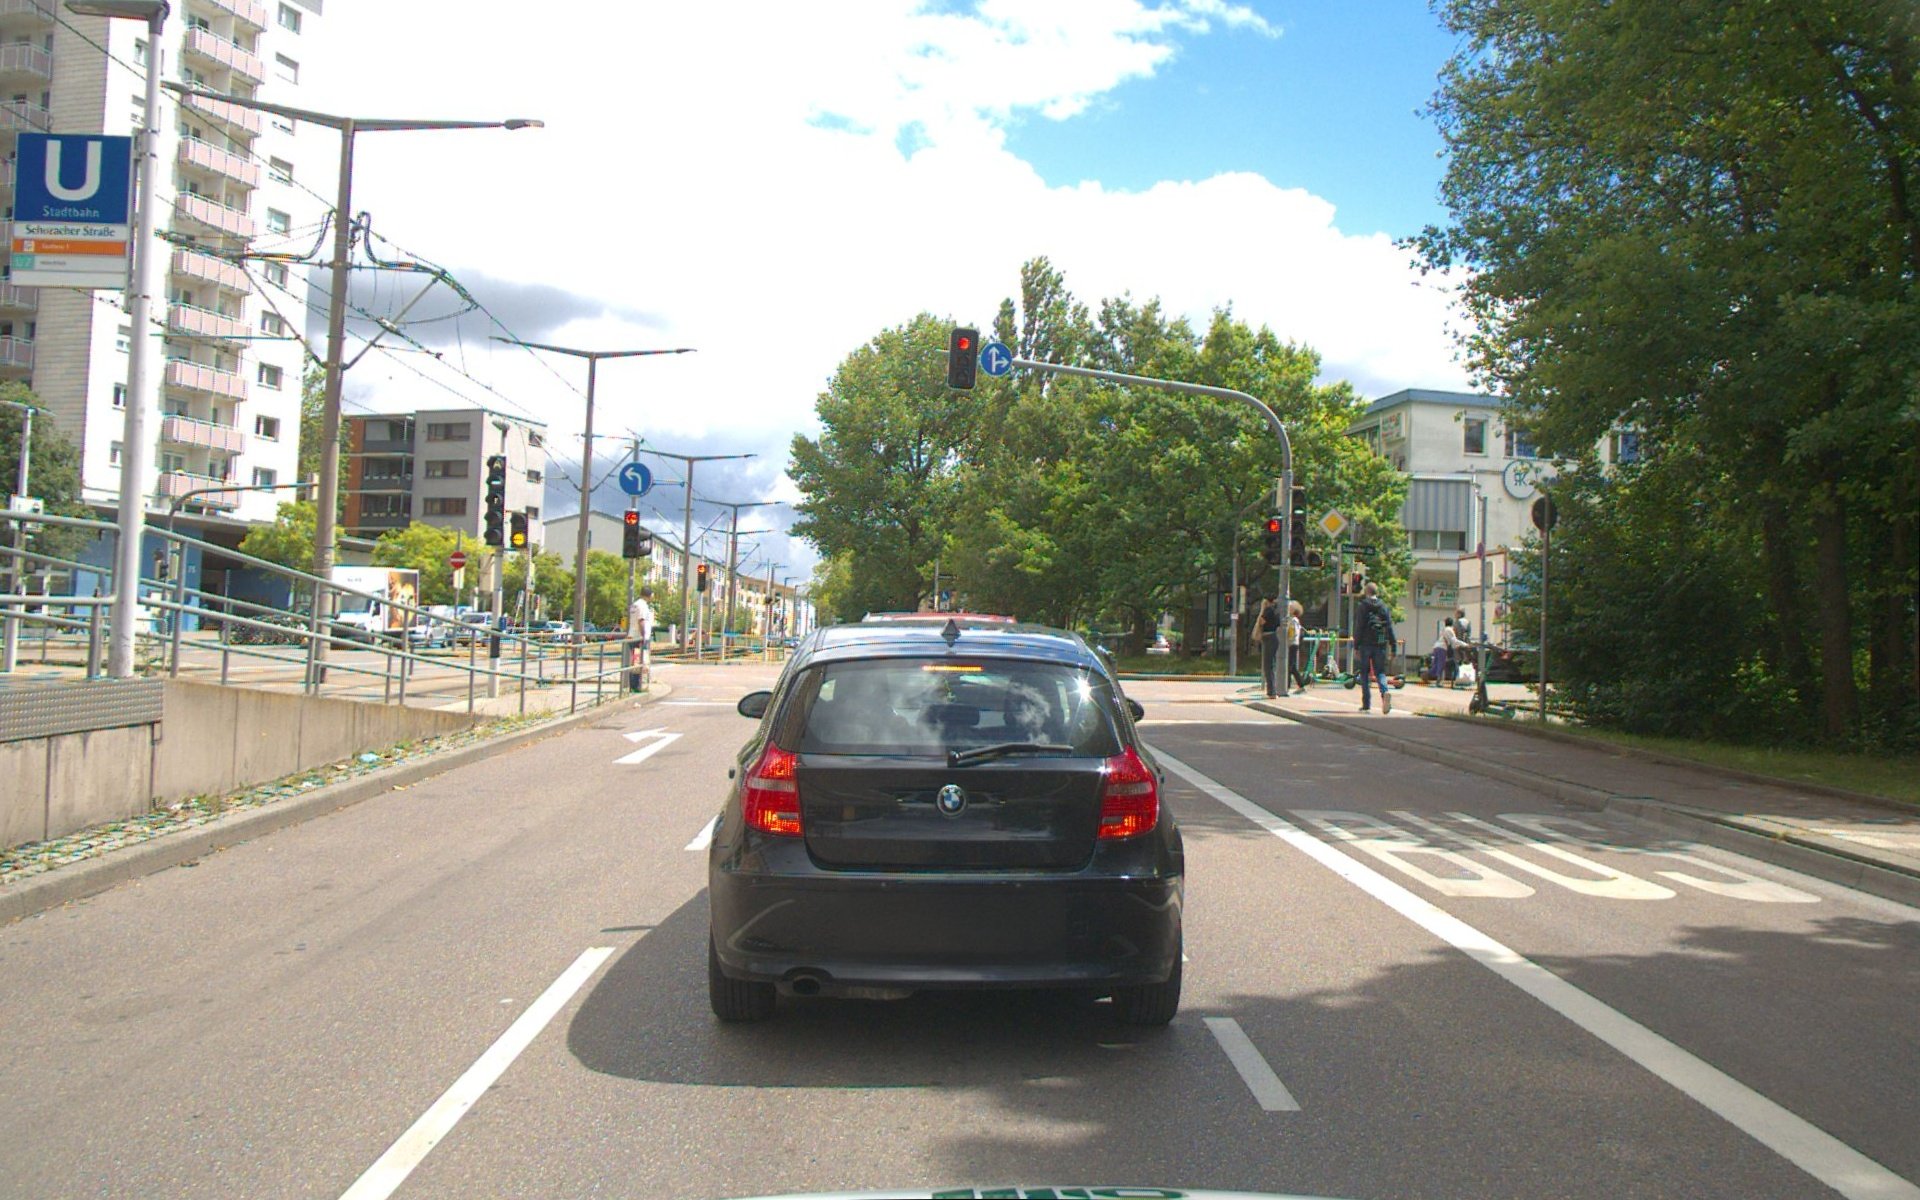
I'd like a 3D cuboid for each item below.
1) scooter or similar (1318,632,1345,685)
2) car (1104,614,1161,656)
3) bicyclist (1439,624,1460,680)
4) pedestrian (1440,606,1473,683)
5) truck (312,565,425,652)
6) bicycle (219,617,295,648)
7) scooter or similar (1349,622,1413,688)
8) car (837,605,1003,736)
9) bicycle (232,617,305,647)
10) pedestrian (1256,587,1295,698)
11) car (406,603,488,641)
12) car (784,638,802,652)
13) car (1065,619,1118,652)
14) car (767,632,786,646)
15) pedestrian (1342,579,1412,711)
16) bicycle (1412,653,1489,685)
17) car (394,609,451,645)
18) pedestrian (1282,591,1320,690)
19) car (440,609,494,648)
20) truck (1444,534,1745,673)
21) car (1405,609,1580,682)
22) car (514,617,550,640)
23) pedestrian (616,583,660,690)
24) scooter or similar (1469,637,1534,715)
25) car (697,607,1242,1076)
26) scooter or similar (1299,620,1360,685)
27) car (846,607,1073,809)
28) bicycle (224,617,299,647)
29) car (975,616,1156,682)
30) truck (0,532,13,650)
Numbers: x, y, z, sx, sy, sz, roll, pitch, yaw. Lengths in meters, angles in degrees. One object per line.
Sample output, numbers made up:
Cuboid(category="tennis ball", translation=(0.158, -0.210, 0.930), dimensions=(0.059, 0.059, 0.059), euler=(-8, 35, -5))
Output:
Cuboid(category="scooter or similar", translation=(7.866, 1.225, 34.996), dimensions=(0.536, 1.082, 1.263), euler=(1, 0, 13))
Cuboid(category="car", translation=(8.305, 1.665, 79.802), dimensions=(1.694, 1.904, 3.991), euler=(2, -1, -9))
Cuboid(category="bicyclist", translation=(10.538, 1.112, 35.627), dimensions=(0.390, 1.177, 0.503), euler=(1, -1, 20))
Cuboid(category="pedestrian", translation=(11.328, 1.007, 37.720), dimensions=(0.644, 1.743, 0.461), euler=(1, -1, 25))
Cuboid(category="truck", translation=(-23.040, 0.351, 64.793), dimensions=(2.237, 3.172, 7.311), euler=(2, -1, -5))
Cuboid(category="bicycle", translation=(-26.276, 1.228, 61.832), dimensions=(2.528, 1.026, 0.748), euler=(3, -3, -29))
Cuboid(category="scooter or similar", translation=(8.641, 1.114, 33.965), dimensions=(1.127, 1.294, 0.555), euler=(2, -1, 1))
Cuboid(category="car", translation=(-0.483, 0.816, 21.077), dimensions=(1.862, 1.447, 4.538), euler=(1, 0, -1))
Cuboid(category="bicycle", translation=(-26.714, 1.238, 63.920), dimensions=(2.528, 1.026, 0.748), euler=(3, -3, -29))
Cuboid(category="pedestrian", translation=(5.499, 0.728, 28.866), dimensions=(0.622, 1.909, 0.518), euler=(1, -1, 8))
Cuboid(category="car", translation=(-27.676, 1.184, 89.220), dimensions=(3.893, 2.009, 1.630), euler=(2, -1, -43))
Cuboid(category="car", translation=(-19.463, 5.274, 192.960), dimensions=(1.622, 1.561, 3.859), euler=(2, -1, -12))
Cuboid(category="car", translation=(7.170, 1.934, 90.758), dimensions=(1.830, 1.691, 3.988), euler=(2, -1, -12))
Cuboid(category="car", translation=(-19.949, 4.261, 179.628), dimensions=(1.758, 1.434, 3.997), euler=(1, 0, -3))
Cuboid(category="pedestrian", translation=(6.178, 0.661, 24.539), dimensions=(0.779, 1.909, 1.013), euler=(1, -1, 1))
Cuboid(category="bicycle", translation=(10.551, 1.475, 35.603), dimensions=(1.552, 0.620, 0.534), euler=(1, 0, 19))
Cuboid(category="car", translation=(-23.491, 1.173, 72.422), dimensions=(1.379, 1.486, 3.772), euler=(2, -1, -3))
Cuboid(category="pedestrian", translation=(6.308, 0.750, 30.623), dimensions=(0.622, 1.797, 0.518), euler=(1, -1, 8))
Cuboid(category="car", translation=(-24.130, 1.380, 81.033), dimensions=(1.559, 1.787, 3.773), euler=(2, -1, -2))
Cuboid(category="truck", translation=(16.517, 0.118, 43.158), dimensions=(7.144, 3.407, 2.599), euler=(1, -1, -14))
Cuboid(category="car", translation=(15.464, 1.303, 48.106), dimensions=(4.451, 2.049, 1.996), euler=(1, 0, -9))
Cuboid(category="car", translation=(-28.815, 1.930, 111.444), dimensions=(1.559, 1.500, 3.773), euler=(2, -1, -2))
Cuboid(category="pedestrian", translation=(-5.351, 0.604, 27.535), dimensions=(0.675, 1.764, 0.686), euler=(1, -1, -10))
Cuboid(category="scooter or similar", translation=(9.367, 1.316, 28.636), dimensions=(0.872, 1.251, 0.454), euler=(6, -1, -1))
Cuboid(category="car", translation=(0.009, 0.760, 6.835), dimensions=(1.666, 1.424, 3.419), euler=(1, 0, -1))
Cuboid(category="scooter or similar", translation=(7.367, 1.045, 32.983), dimensions=(1.087, 1.257, 0.539), euler=(1, -1, 1))
Cuboid(category="car", translation=(-0.025, 0.790, 13.615), dimensions=(1.605, 1.424, 3.419), euler=(1, 0, -1))
Cuboid(category="bicycle", translation=(-26.542, 1.236, 62.822), dimensions=(2.528, 1.026, 0.748), euler=(3, -3, -29))
Cuboid(category="car", translation=(2.501, 1.168, 39.533), dimensions=(3.926, 1.512, 1.837), euler=(1, 0, -19))
Cuboid(category="truck", translation=(-28.042, -0.289, 41.566), dimensions=(7.113, 2.991, 2.762), euler=(1, 0, 8))
